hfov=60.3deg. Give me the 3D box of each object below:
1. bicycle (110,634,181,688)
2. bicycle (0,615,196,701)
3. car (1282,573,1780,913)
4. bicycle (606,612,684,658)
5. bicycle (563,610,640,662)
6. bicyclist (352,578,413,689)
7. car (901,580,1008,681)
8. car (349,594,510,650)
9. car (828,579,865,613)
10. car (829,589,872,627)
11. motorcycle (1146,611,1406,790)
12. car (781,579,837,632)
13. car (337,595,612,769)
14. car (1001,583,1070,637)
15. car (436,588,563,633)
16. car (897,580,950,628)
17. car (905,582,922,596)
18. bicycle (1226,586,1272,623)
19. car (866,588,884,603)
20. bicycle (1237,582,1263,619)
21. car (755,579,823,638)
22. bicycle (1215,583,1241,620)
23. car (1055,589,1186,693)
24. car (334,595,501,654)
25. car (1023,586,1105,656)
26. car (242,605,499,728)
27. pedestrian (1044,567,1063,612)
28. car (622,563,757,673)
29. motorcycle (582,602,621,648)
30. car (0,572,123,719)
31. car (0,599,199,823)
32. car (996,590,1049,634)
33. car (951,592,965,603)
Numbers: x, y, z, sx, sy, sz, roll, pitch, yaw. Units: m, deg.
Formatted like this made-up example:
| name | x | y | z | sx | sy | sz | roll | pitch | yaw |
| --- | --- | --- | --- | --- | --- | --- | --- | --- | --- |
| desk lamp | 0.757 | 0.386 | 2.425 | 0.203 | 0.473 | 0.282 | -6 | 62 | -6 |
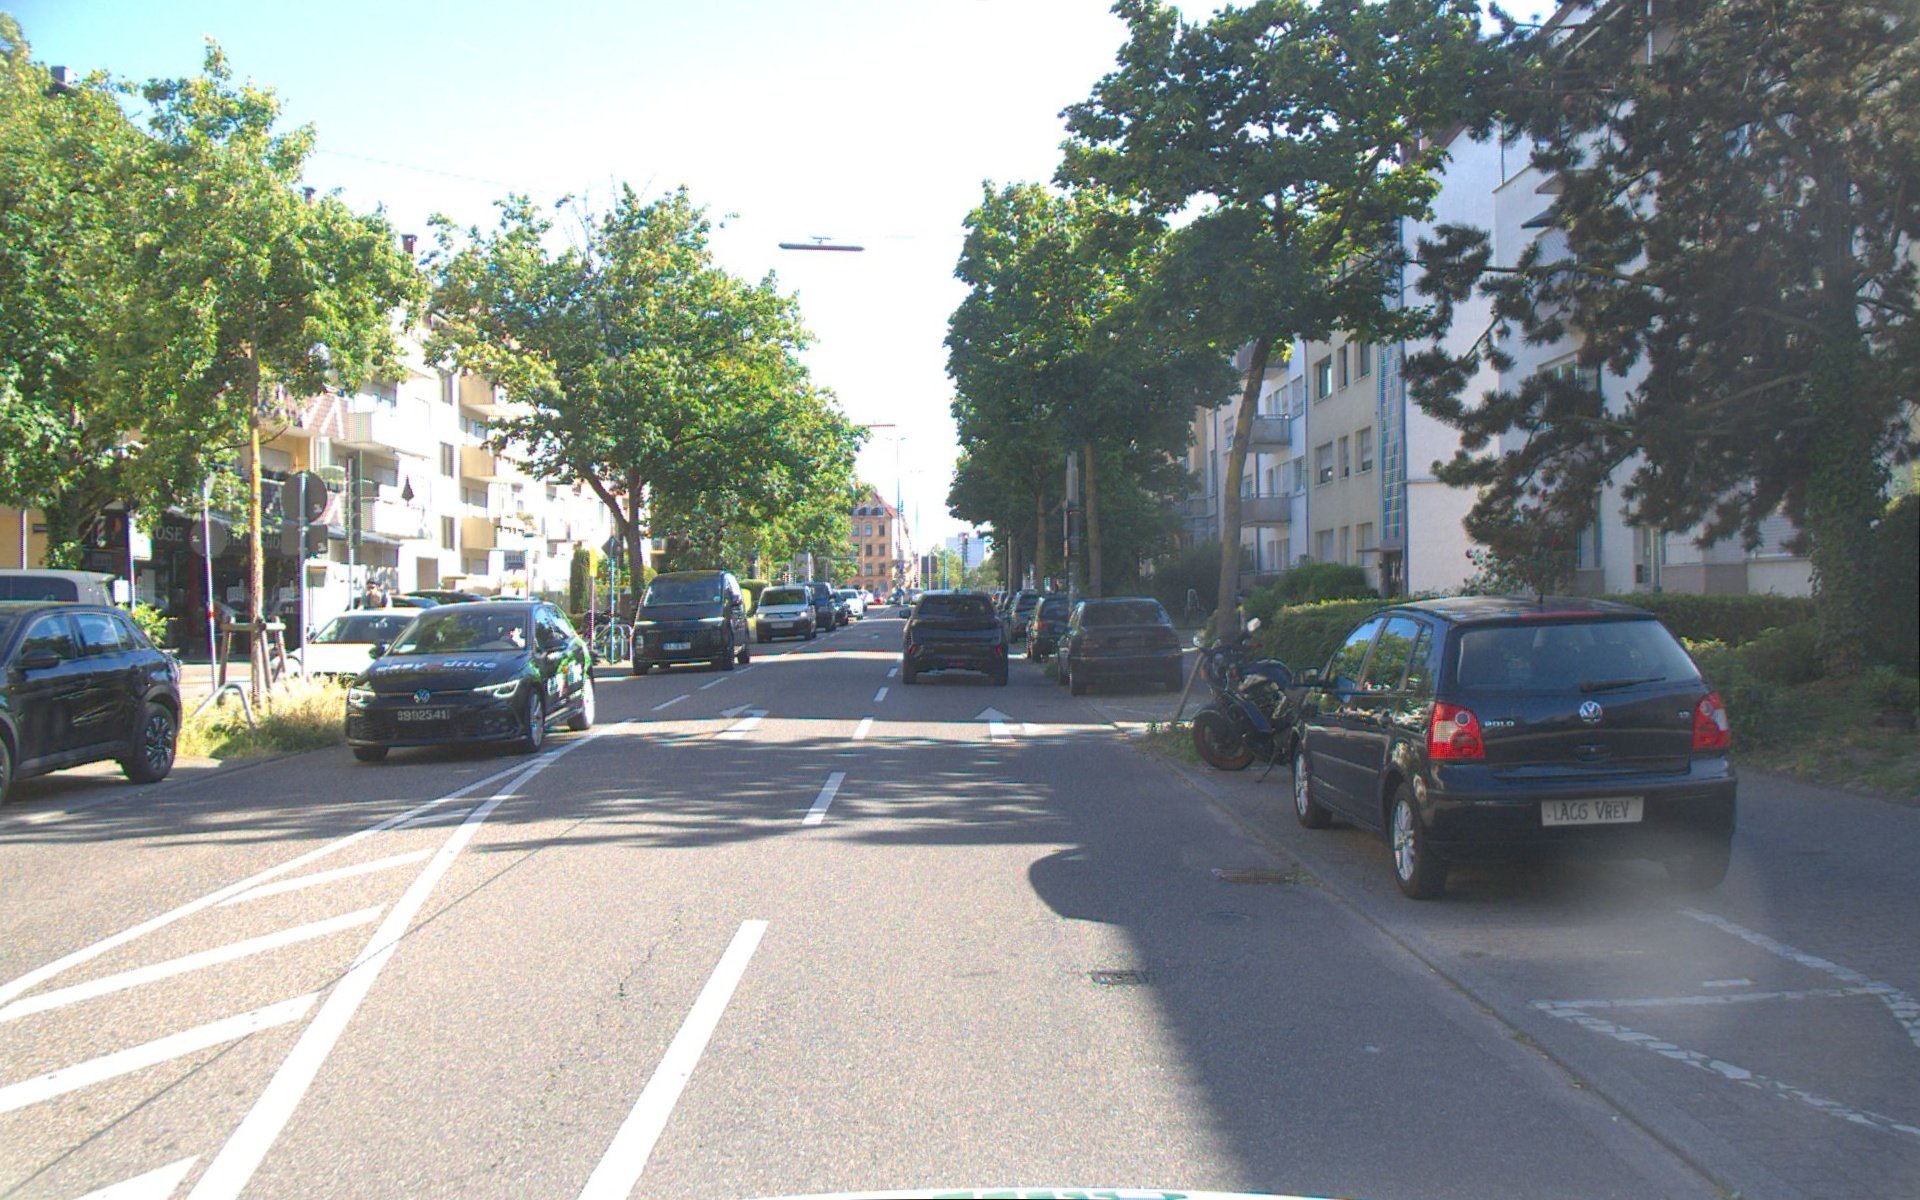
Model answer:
| name | x | y | z | sx | sy | sz | roll | pitch | yaw |
| --- | --- | --- | --- | --- | --- | --- | --- | --- | --- |
| bicycle | -16.388 | 1.214 | 33.328 | 0.394 | 0.976 | 1.760 | -1 | 2 | 5 |
| bicycle | -13.957 | 0.910 | 26.344 | 3.139 | 1.284 | 0.940 | 0 | -2 | -36 |
| car | 2.994 | 0.643 | 9.461 | 1.587 | 1.525 | 3.649 | -2 | 0 | 1 |
| bicycle | -7.847 | 0.867 | 41.178 | 1.982 | 1.111 | 0.462 | 0 | 1 | 22 |
| bicycle | -8.322 | 0.819 | 38.398 | 1.893 | 1.155 | 0.462 | 1 | 1 | 27 |
| bicyclist | -9.865 | 0.563 | 28.277 | 0.645 | 1.856 | 1.054 | -1 | 0 | -1 |
| car | -0.114 | 0.489 | 28.278 | 1.710 | 1.601 | 3.557 | 1 | 0 | -1 |
| car | -14.743 | 0.593 | 46.077 | 3.902 | 1.486 | 1.734 | 0 | 1 | 8 |
| car | -6.198 | -0.237 | 90.601 | 1.770 | 1.676 | 4.671 | -3 | 0 | -2 |
| car | -5.011 | 0.330 | 76.294 | 1.684 | 1.593 | 4.341 | -3 | 0 | -1 |
| motorcycle | 2.493 | 0.756 | 13.423 | 0.689 | 1.294 | 2.409 | -3 | 1 | -28 |
| car | -5.952 | 0.192 | 65.769 | 1.766 | 1.944 | 4.711 | -3 | 0 | -1 |
| car | -4.892 | 0.748 | 17.250 | 1.657 | 1.479 | 4.172 | -3 | 0 | -2 |
| car | 2.230 | 0.280 | 49.624 | 1.680 | 1.515 | 4.232 | -1 | 0 | -2 |
| car | -16.030 | 0.349 | 57.661 | 3.906 | 1.512 | 1.880 | 0 | 1 | -2 |
| car | -1.269 | 0.119 | 59.276 | 1.792 | 1.606 | 3.839 | -1 | 1 | 0 |
| car | -5.053 | -1.216 | 180.042 | 1.735 | 1.478 | 3.886 | -1 | 0 | 0 |
| bicycle | 10.479 | 0.181 | 59.949 | 1.506 | 1.244 | 0.463 | -3 | 0 | 30 |
| car | -9.422 | -0.502 | 183.443 | 1.754 | 1.645 | 4.000 | -1 | 0 | 0 |
| bicycle | 10.776 | 0.012 | 61.430 | 0.579 | 1.309 | 1.689 | -3 | 0 | 0 |
| car | -5.619 | 0.265 | 54.770 | 1.779 | 1.773 | 4.492 | -3 | 0 | -1 |
| bicycle | 9.982 | 0.043 | 61.631 | 0.610 | 1.309 | 1.842 | -3 | 0 | 0 |
| car | 2.422 | 0.566 | 25.843 | 1.554 | 1.420 | 4.454 | -2 | 0 | 0 |
| car | -14.263 | 0.617 | 43.497 | 3.903 | 1.481 | 1.734 | 0 | 1 | 17 |
| car | 2.276 | 0.428 | 37.022 | 1.657 | 1.453 | 4.148 | -1 | 0 | 2 |
| car | -7.721 | 0.806 | 22.172 | 1.796 | 1.413 | 4.801 | 0 | 0 | -1 |
| pedestrian | 3.691 | -0.410 | 65.002 | 0.656 | 1.711 | 0.776 | -1 | 0 | -1 |
| car | -5.436 | 0.314 | 33.849 | 1.976 | 1.986 | 5.176 | -3 | 0 | -2 |
| motorcycle | -9.289 | 0.640 | 42.913 | 0.451 | 1.145 | 1.718 | 0 | 1 | 7 |
| car | -13.566 | 0.579 | 22.022 | 4.262 | 1.912 | 1.864 | 0 | 1 | -27 |
| car | -7.679 | 0.796 | 12.873 | 1.643 | 1.582 | 4.008 | 0 | 0 | 0 |
| car | 2.064 | 0.377 | 55.629 | 1.579 | 1.407 | 3.976 | -1 | 0 | 0 |
| car | -0.272 | -0.400 | 245.972 | 1.952 | 1.546 | 4.000 | 2 | 0 | 1 |
